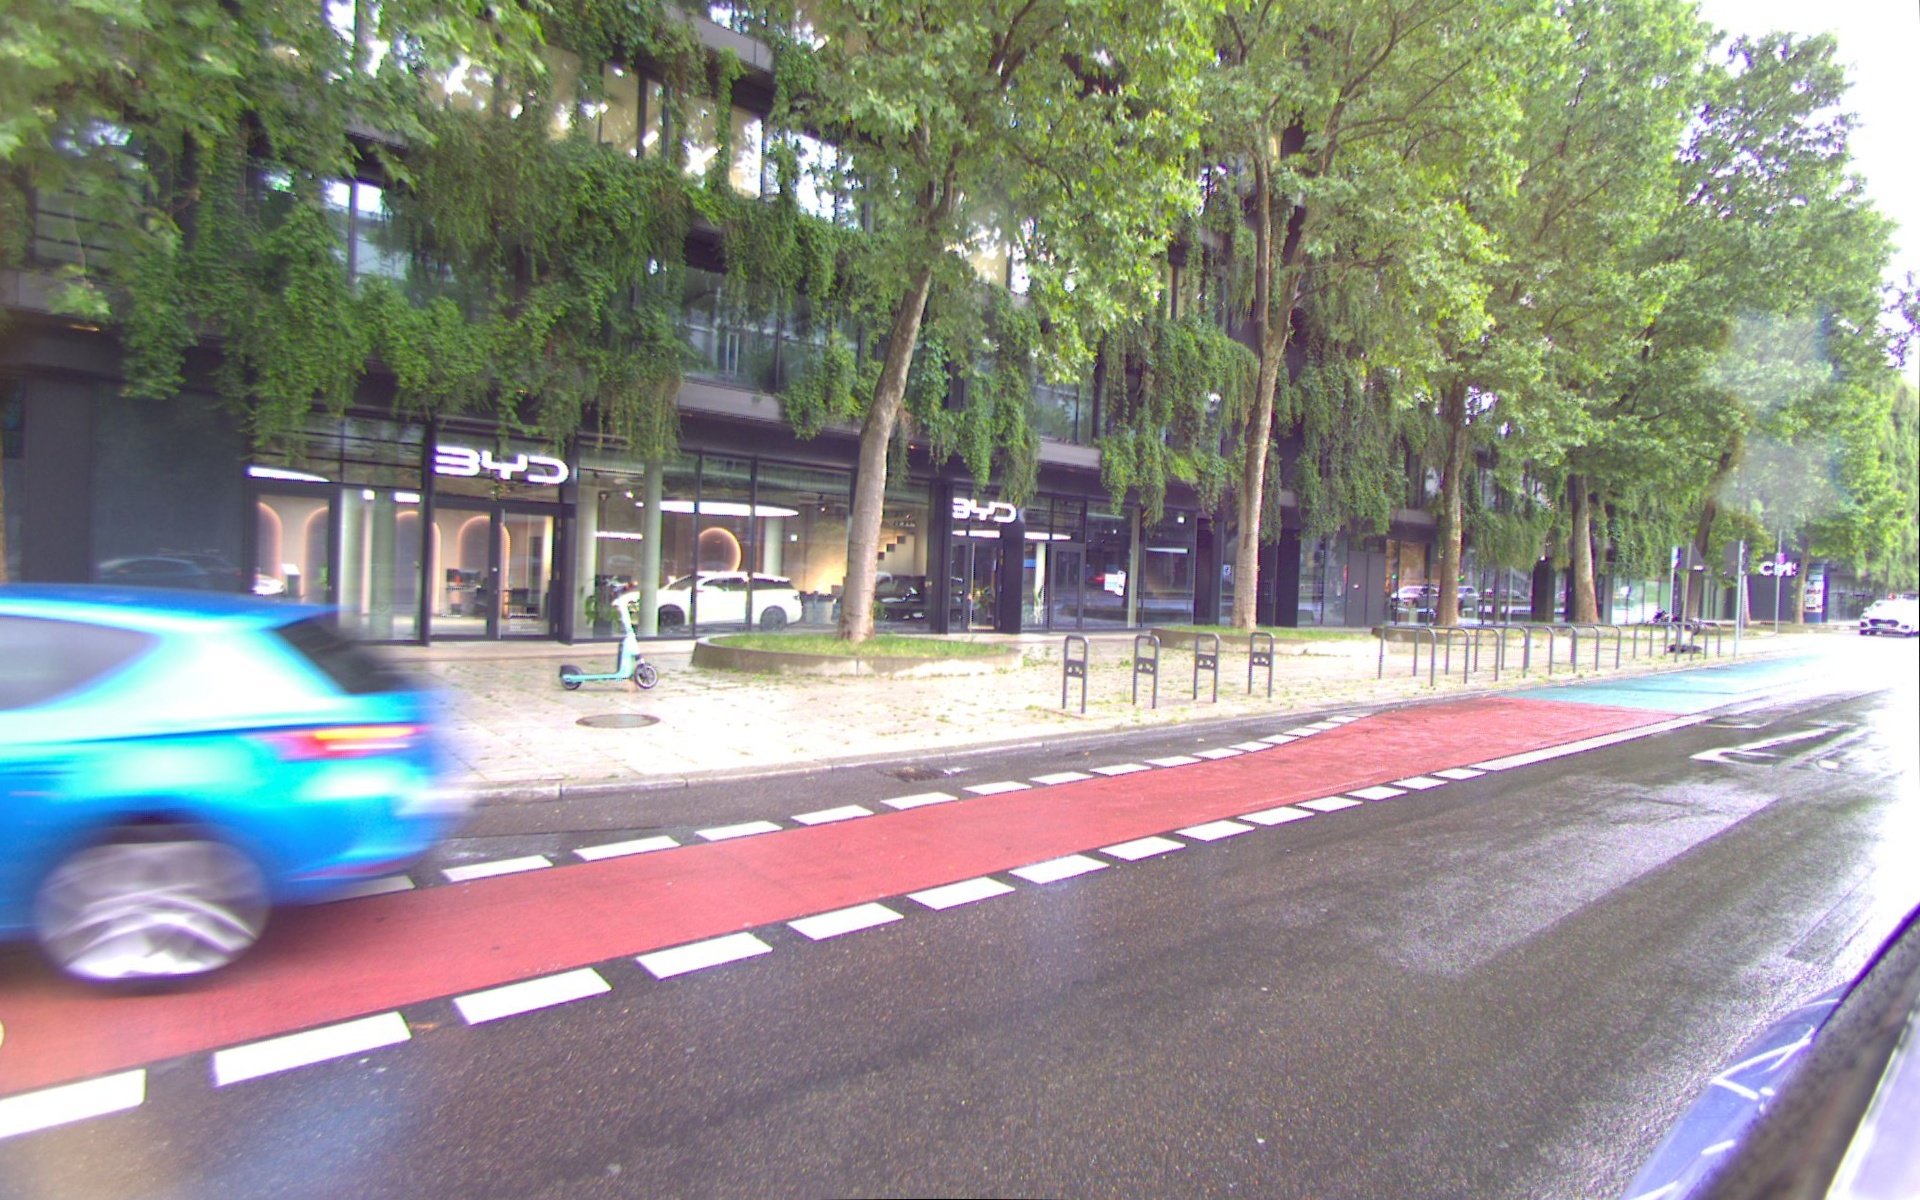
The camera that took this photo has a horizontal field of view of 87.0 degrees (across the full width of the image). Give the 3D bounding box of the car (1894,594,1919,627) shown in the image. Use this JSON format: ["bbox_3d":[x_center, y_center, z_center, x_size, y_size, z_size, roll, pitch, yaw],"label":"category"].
[{"bbox_3d":[49.262,0.516,51.398,4.503,1.581,2.035,-1,1,-39],"label":"car"}]

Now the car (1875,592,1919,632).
[{"bbox_3d":[44.664,0.530,47.593,4.519,1.757,1.931,-1,1,-41],"label":"car"}]

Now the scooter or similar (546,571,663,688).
[{"bbox_3d":[-4.077,0.327,11.634,1.165,1.298,0.535,0,0,10],"label":"scooter or similar"}]

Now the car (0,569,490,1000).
[{"bbox_3d":[-4.237,0.607,4.111,3.977,1.453,1.805,0,2,-15],"label":"car"}]
